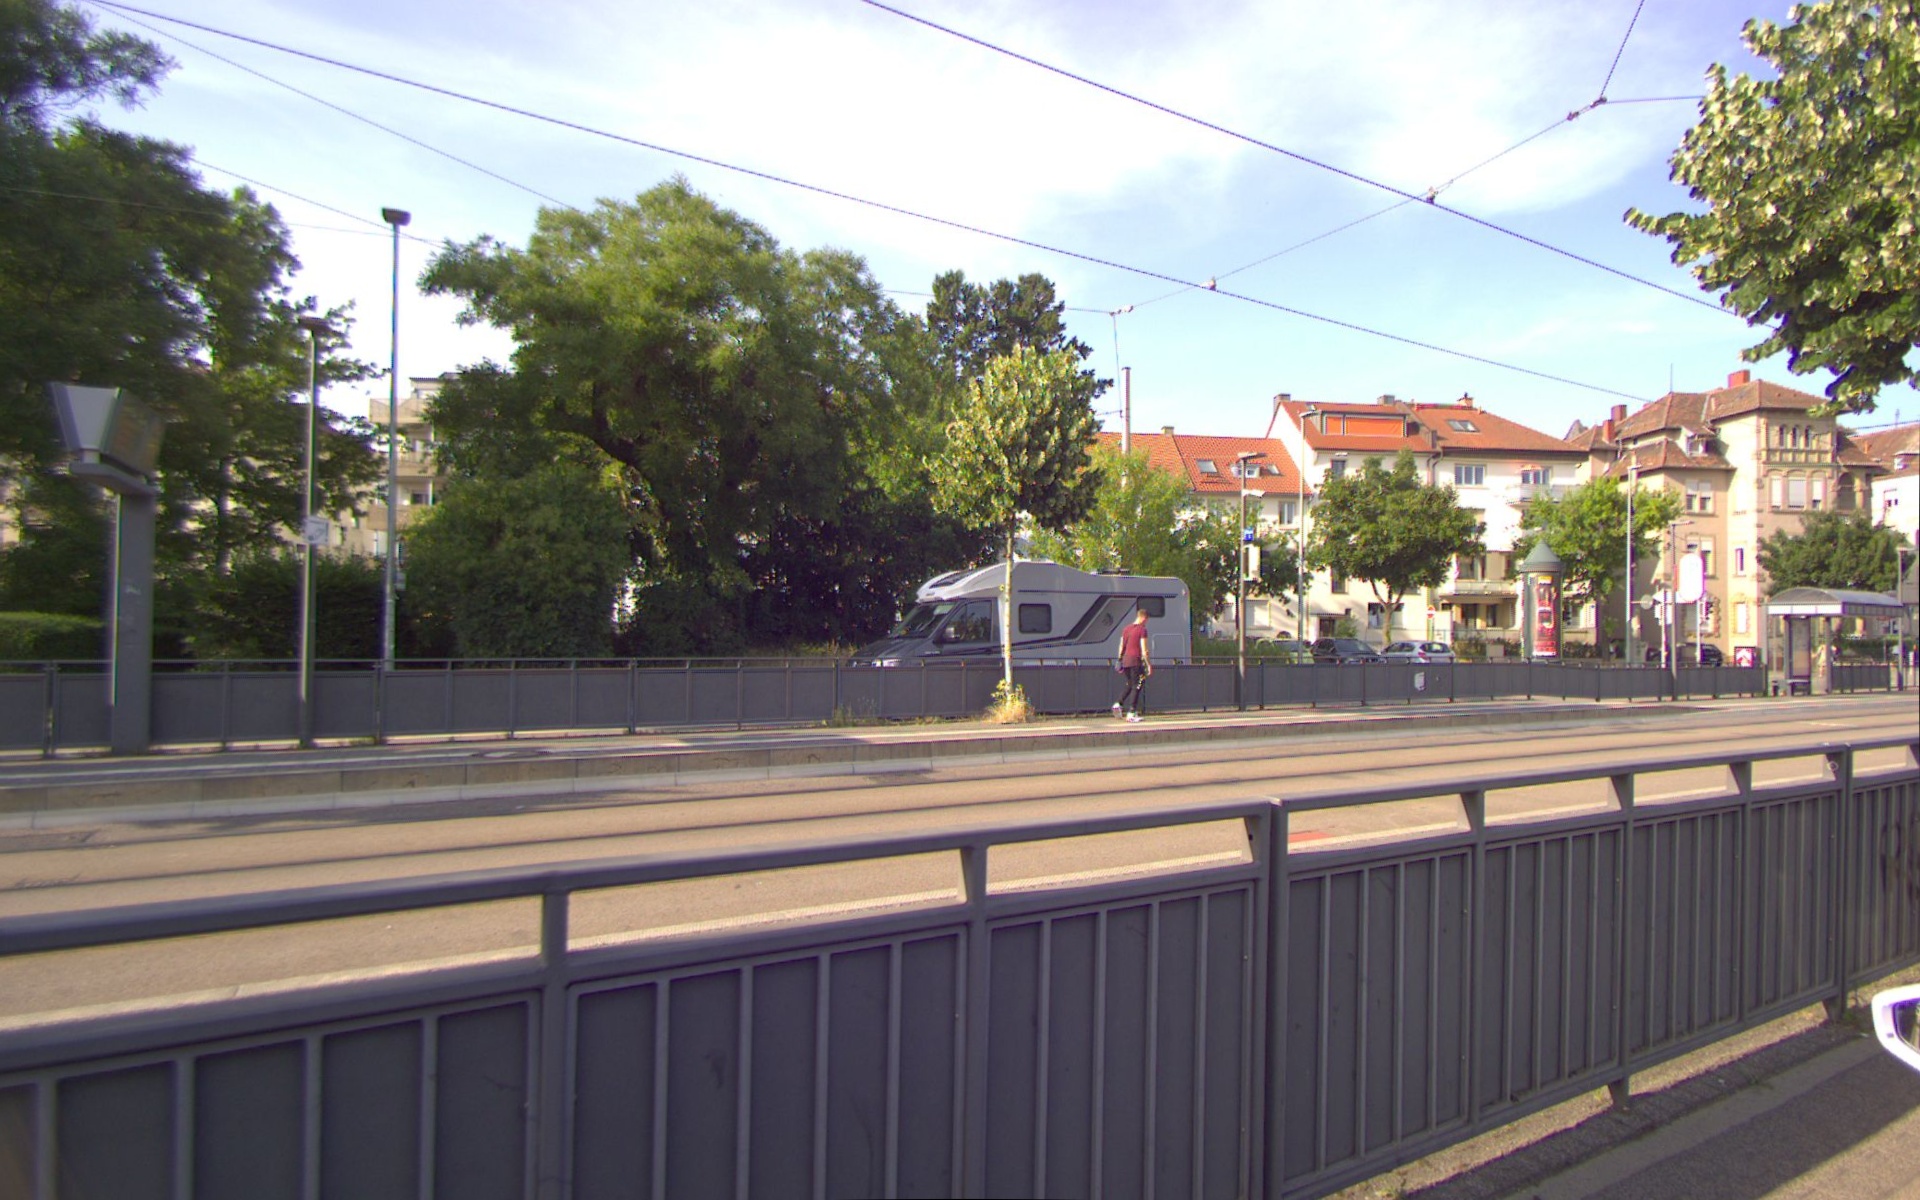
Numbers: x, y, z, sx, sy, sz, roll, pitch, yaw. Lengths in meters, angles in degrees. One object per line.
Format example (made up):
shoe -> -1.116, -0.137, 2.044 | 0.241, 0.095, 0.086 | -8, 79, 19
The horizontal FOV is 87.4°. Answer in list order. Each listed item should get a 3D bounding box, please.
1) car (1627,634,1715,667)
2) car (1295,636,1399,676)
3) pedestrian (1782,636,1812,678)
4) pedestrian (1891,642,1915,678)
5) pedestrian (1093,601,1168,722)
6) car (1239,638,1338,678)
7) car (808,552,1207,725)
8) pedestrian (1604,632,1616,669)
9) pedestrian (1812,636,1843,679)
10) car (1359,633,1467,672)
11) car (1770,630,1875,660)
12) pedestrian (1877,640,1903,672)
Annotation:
car -> 41.934, 2.967, 59.376 | 1.965, 1.773, 3.992 | 1, -1, -11
car -> 15.403, 2.203, 40.184 | 1.966, 1.416, 3.989 | 1, -1, -14
pedestrian -> 36.408, 2.450, 43.675 | 0.740, 1.776, 0.879 | 1, -1, -40
pedestrian -> 48.195, 3.065, 51.328 | 0.736, 1.776, 0.663 | 1, -1, -26
pedestrian -> 2.564, 0.907, 15.153 | 0.763, 1.756, 0.832 | 1, -2, -29
car -> 12.957, 2.262, 39.881 | 1.966, 1.416, 3.989 | 1, -1, -14
car -> 1.053, 0.708, 19.105 | 7.379, 2.771, 2.584 | 1, -1, -30
pedestrian -> 35.987, 2.784, 55.615 | 0.400, 2.040, 0.383 | 1, -1, -11
pedestrian -> 37.046, 2.432, 42.888 | 0.740, 1.776, 0.879 | 1, -1, -40
car -> 18.366, 2.107, 40.942 | 1.966, 1.416, 3.988 | 1, -1, -15
car -> 51.453, 2.685, 59.950 | 4.628, 1.649, 2.209 | 1, -1, -6
pedestrian -> 52.601, 3.178, 56.805 | 0.736, 1.776, 0.884 | 1, -1, -25
